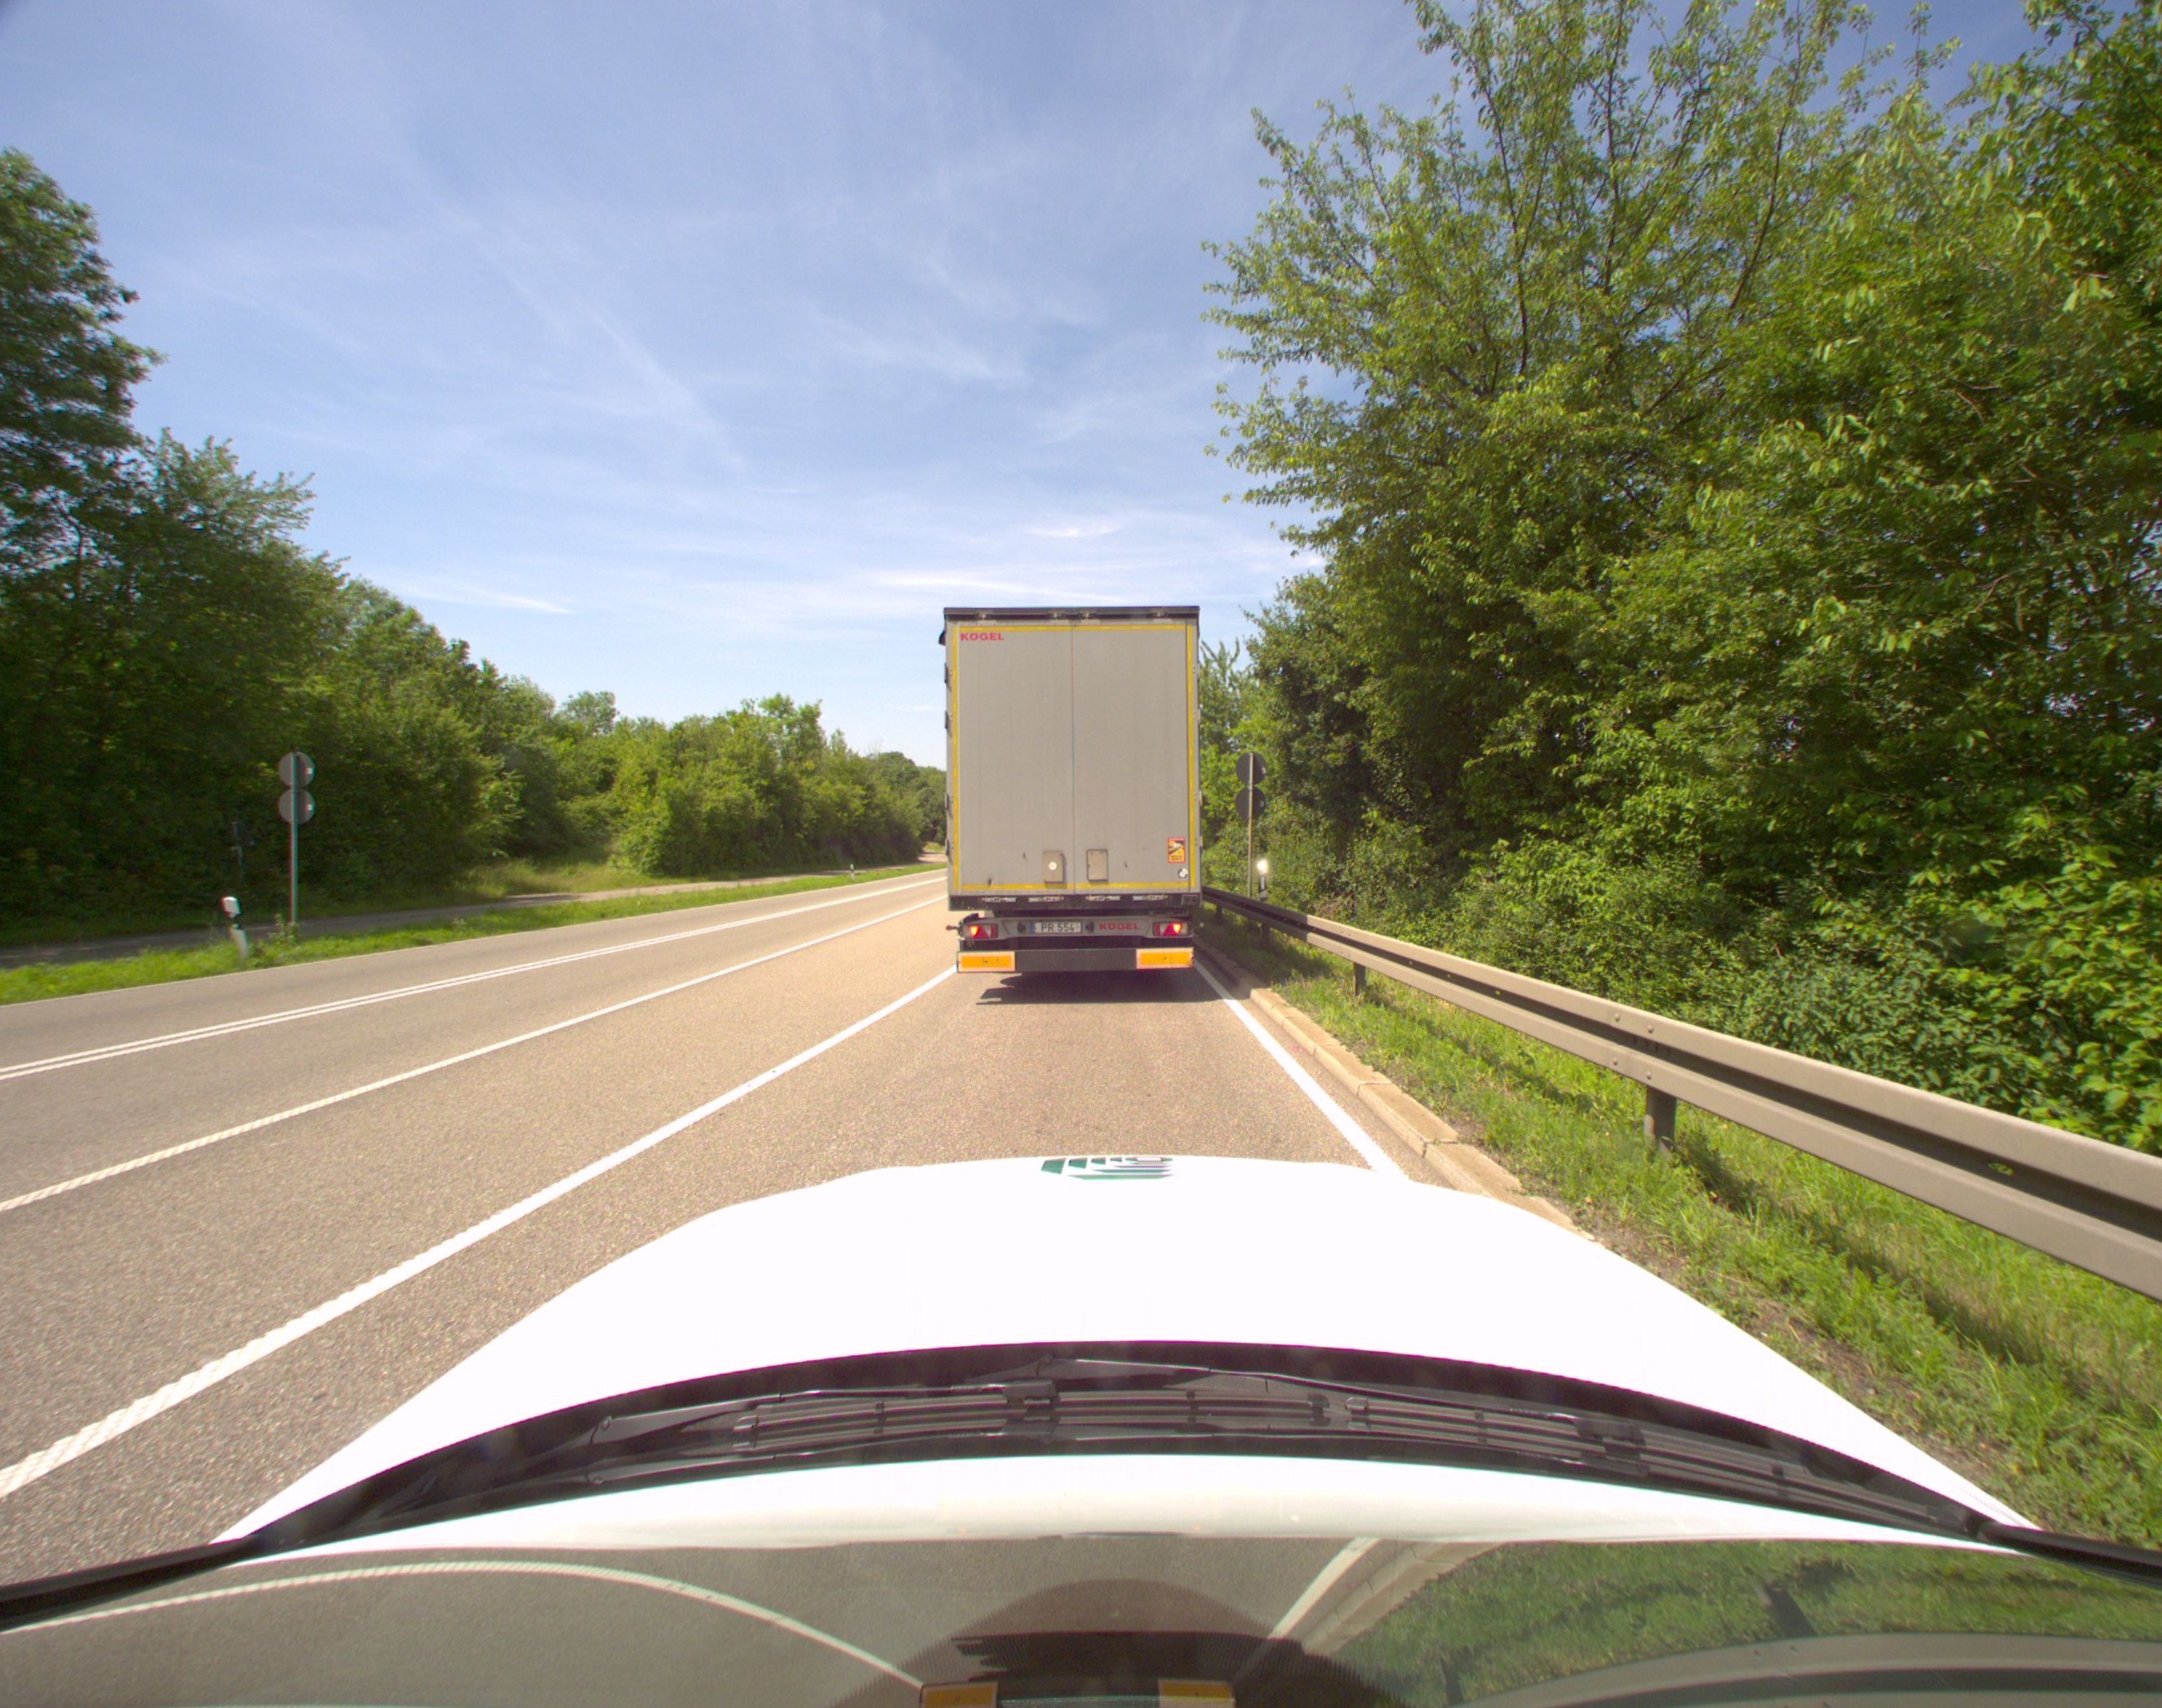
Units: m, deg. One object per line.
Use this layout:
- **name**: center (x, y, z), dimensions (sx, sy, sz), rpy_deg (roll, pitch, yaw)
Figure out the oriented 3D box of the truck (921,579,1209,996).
- **truck**: center (-0.039, -0.663, 13.892), dimensions (2.747, 4.029, 11.926), rpy_deg (-1, 0, 1)
